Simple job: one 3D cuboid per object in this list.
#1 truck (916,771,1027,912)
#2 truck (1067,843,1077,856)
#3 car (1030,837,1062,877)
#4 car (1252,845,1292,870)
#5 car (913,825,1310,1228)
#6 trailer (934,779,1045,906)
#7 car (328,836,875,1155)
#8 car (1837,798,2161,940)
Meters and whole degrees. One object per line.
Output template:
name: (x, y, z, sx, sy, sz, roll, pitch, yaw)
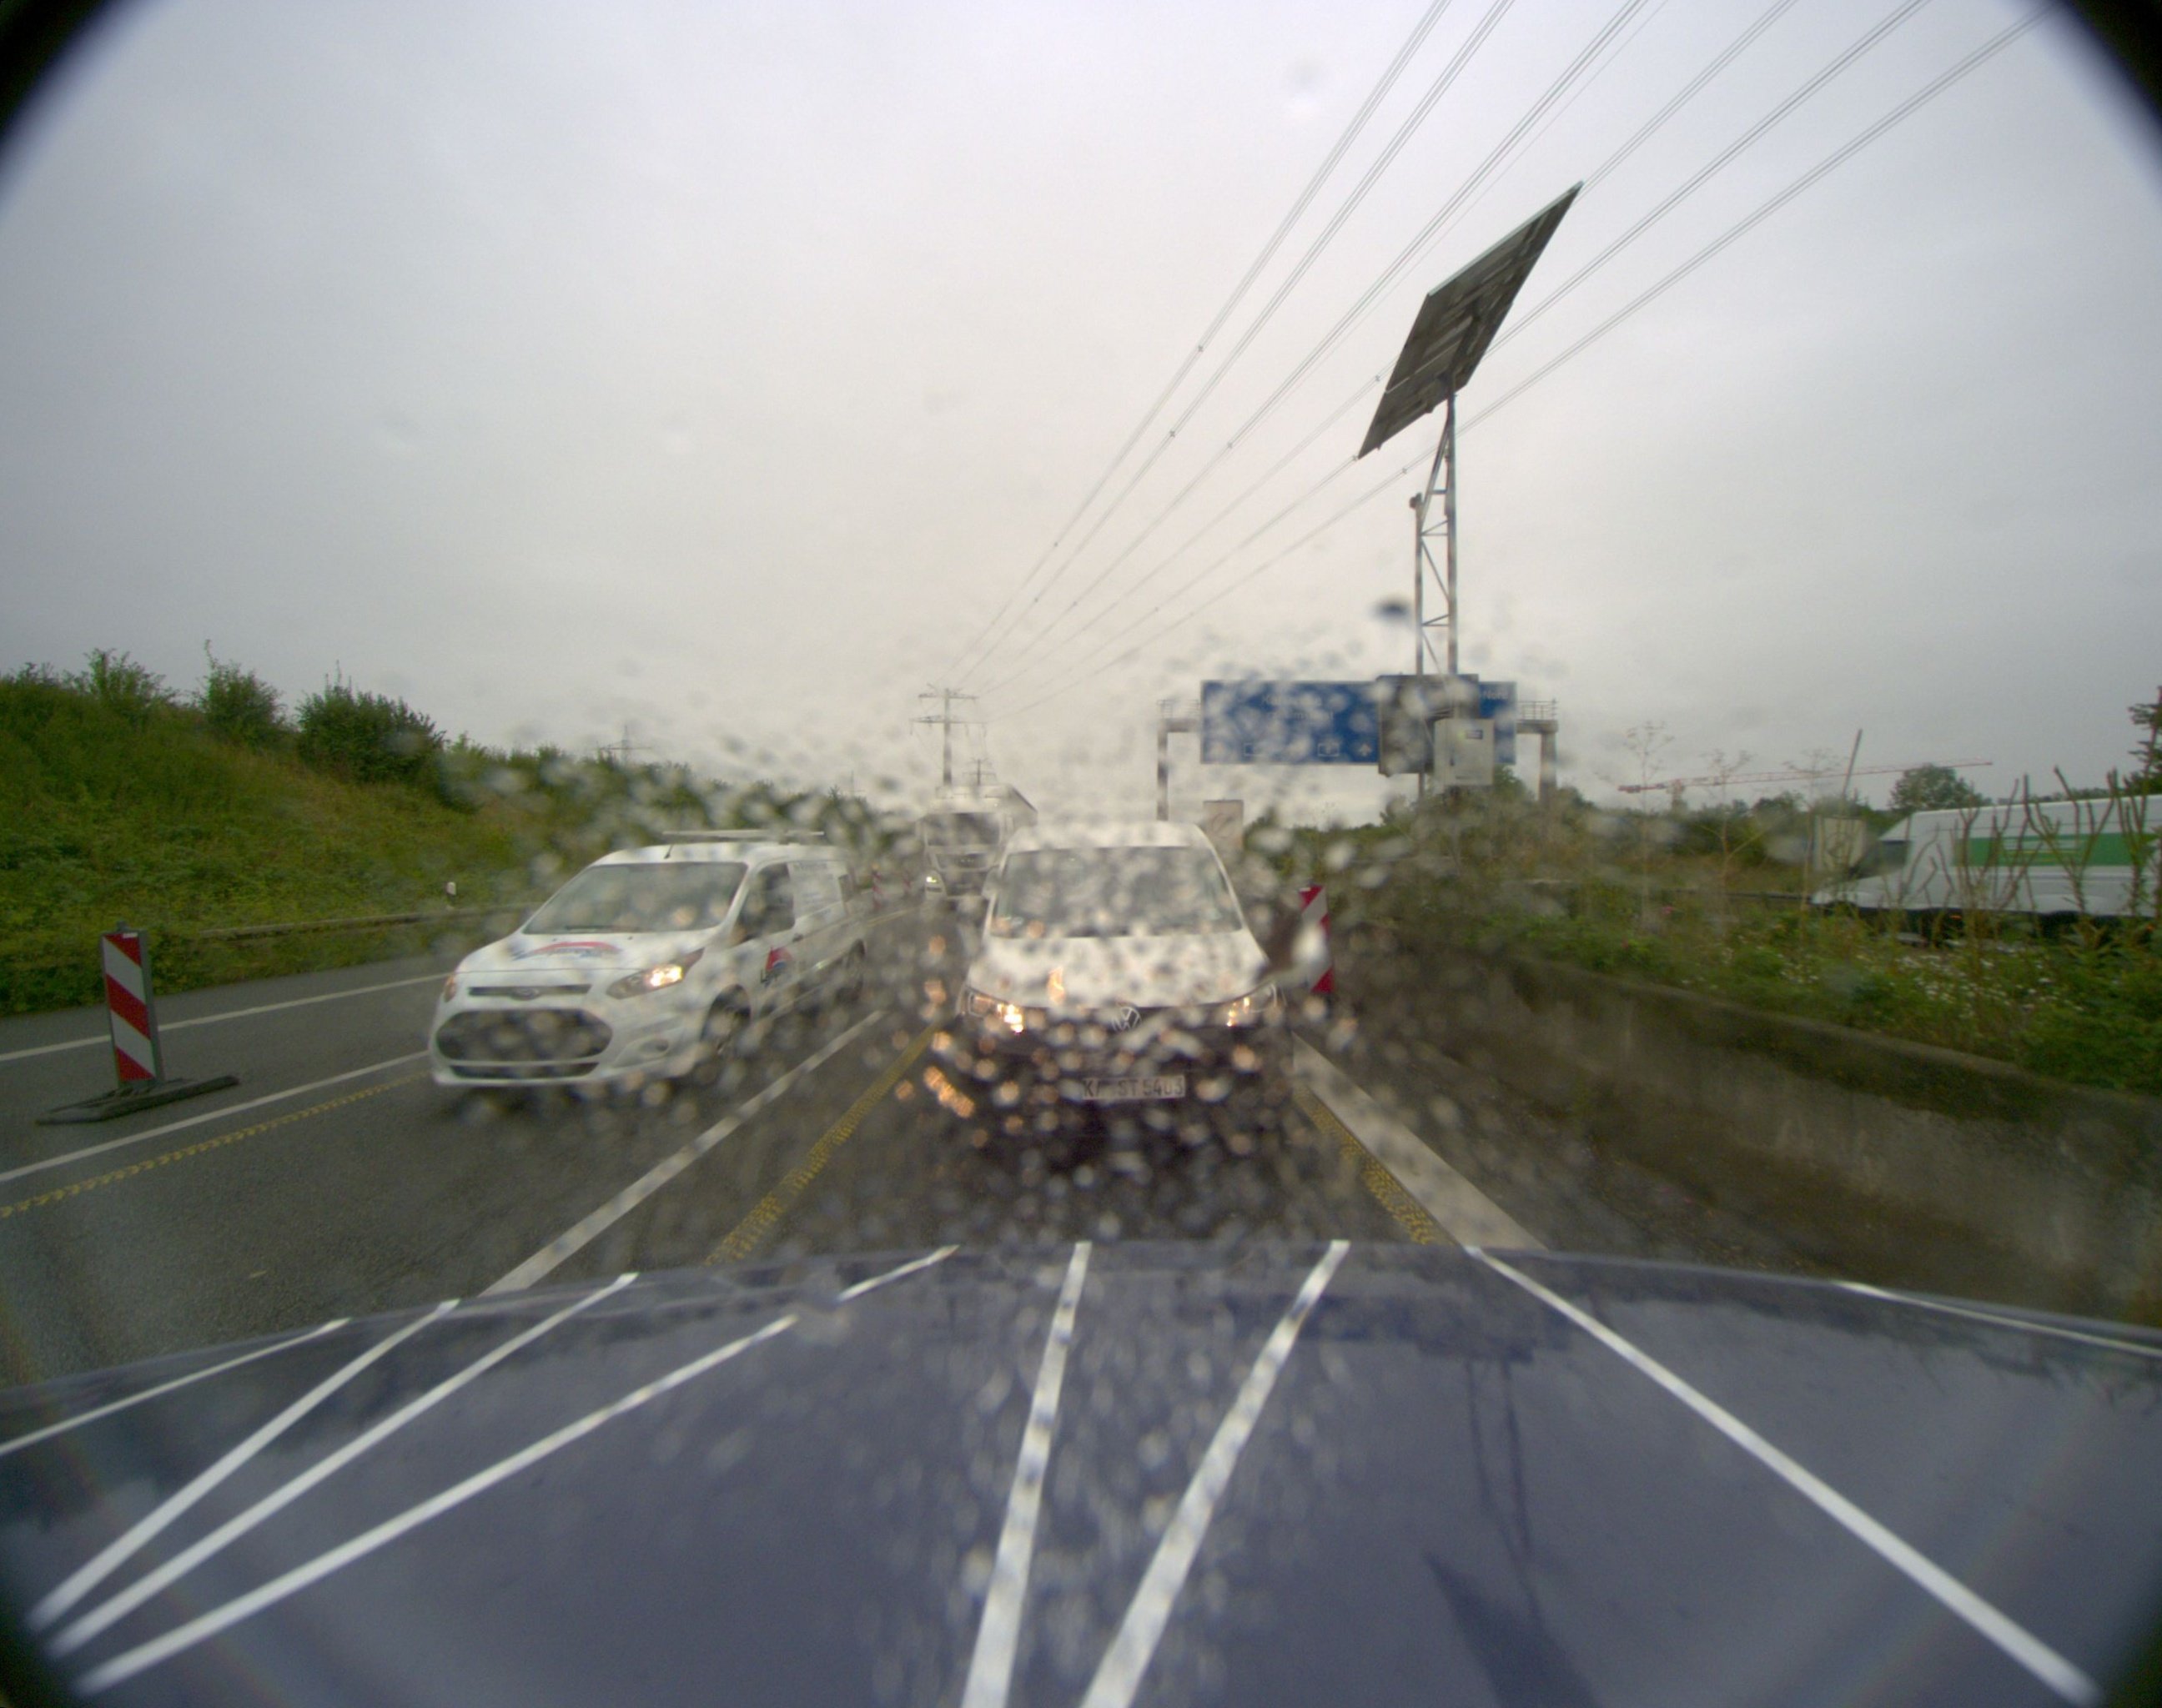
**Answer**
truck: (-3.448, -0.374, 25.392, 2.713, 4.114, 5.690, -1, 0, 1)
truck: (-2.818, -1.545, 243.150, 2.875, 4.007, 8.309, -1, 0, 1)
car: (-2.519, 0.207, 55.363, 1.998, 2.766, 5.756, -1, 0, 0)
car: (14.022, 0.237, 56.083, 1.998, 1.718, 4.000, -1, 0, 1)
car: (0.170, 0.786, 5.638, 1.768, 1.803, 4.345, -1, 0, 1)
trailer: (-3.361, -0.400, 32.060, 2.713, 4.122, 13.731, -1, 0, 1)
car: (-3.444, 0.829, 6.787, 1.834, 1.829, 4.655, -2, 0, 1)
car: (16.206, 0.181, 12.759, 1.998, 2.002, 5.059, -1, 0, 1)
